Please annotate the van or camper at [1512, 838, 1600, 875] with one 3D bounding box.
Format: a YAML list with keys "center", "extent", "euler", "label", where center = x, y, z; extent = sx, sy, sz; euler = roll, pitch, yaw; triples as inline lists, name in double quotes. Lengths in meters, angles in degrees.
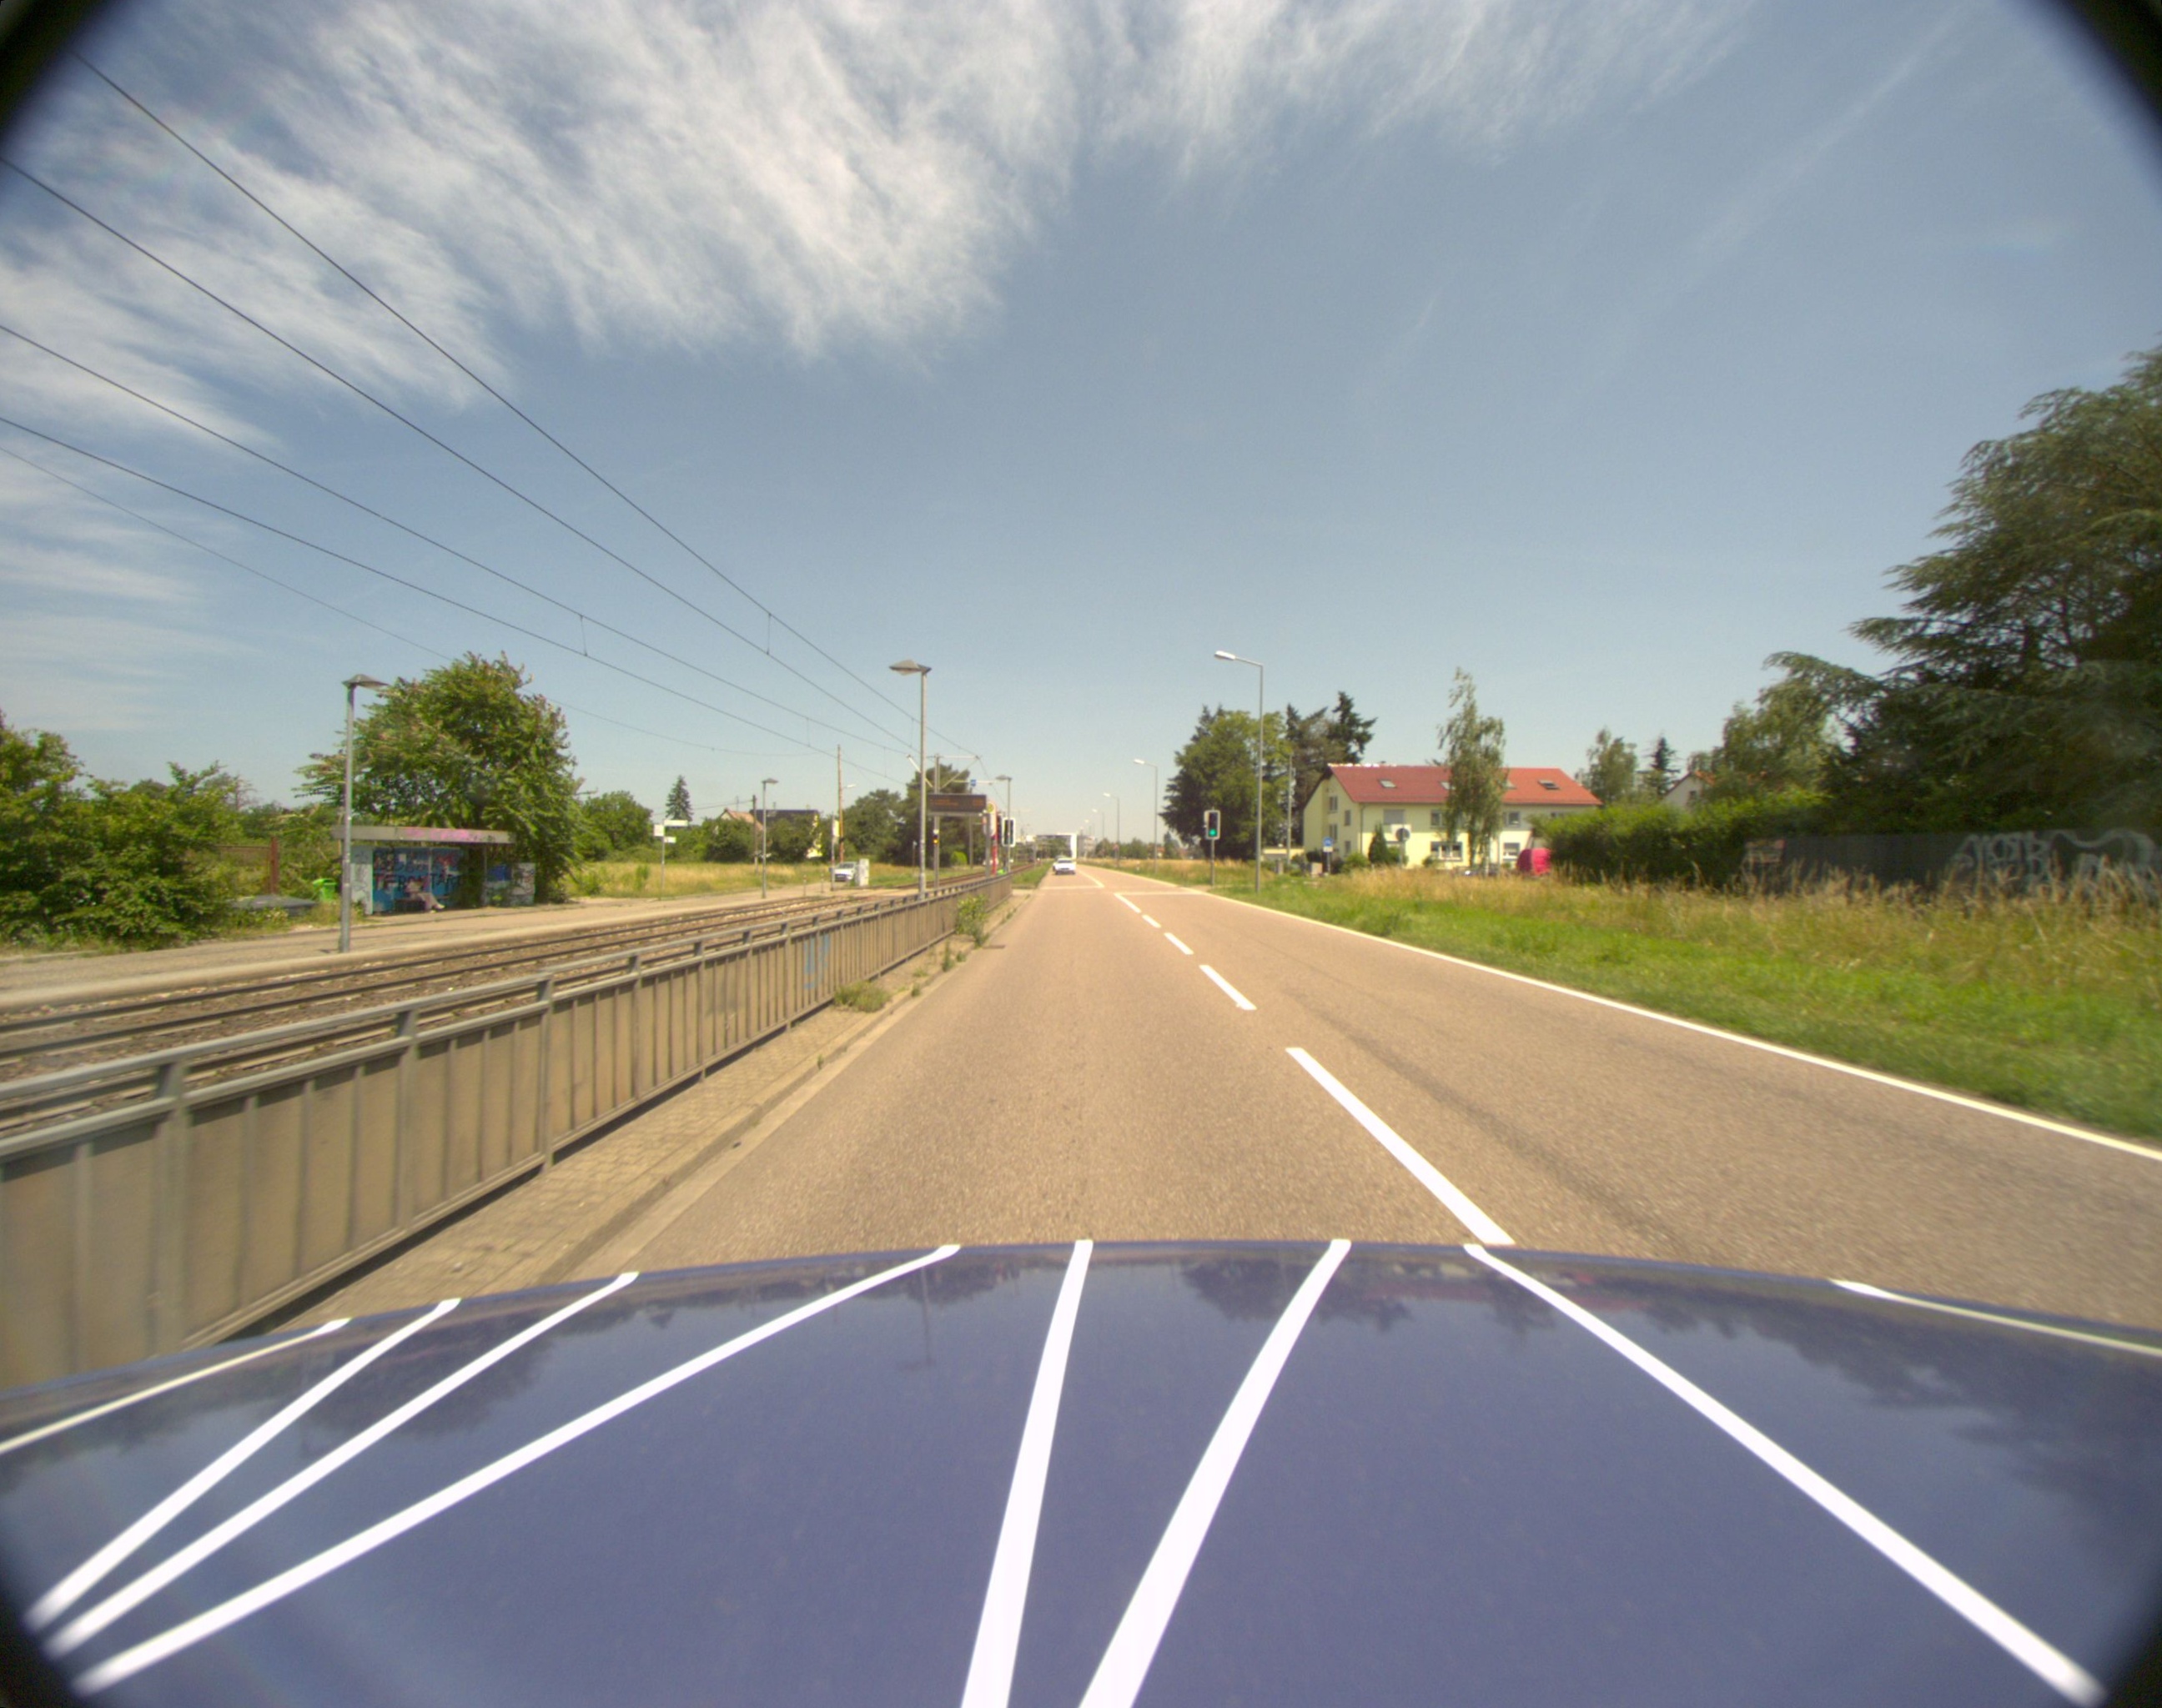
- center: [31.813, 0.144, 50.988]
  extent: [4.768, 2.374, 1.999]
  euler: [-1, 1, -5]
  label: "van or camper"

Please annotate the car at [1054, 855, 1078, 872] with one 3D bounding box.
- center: [-1.336, 0.862, 68.586]
  extent: [1.856, 1.447, 3.707]
  euler: [-1, 0, 3]
  label: "car"

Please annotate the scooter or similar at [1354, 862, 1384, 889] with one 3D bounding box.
- center: [12.267, 0.926, 32.400]
  extent: [1.021, 1.121, 0.648]
  euler: [0, 0, -11]
  label: "scooter or similar"

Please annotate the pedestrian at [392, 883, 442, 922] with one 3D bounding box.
- center: [-19.153, 1.390, 21.938]
  extent: [0.810, 1.080, 0.719]
  euler: [-1, 0, 8]
  label: "pedestrian"

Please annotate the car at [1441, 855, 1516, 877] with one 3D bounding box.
- center: [26.237, 0.763, 50.227]
  extent: [3.999, 1.346, 1.999]
  euler: [-1, 1, -5]
  label: "car"

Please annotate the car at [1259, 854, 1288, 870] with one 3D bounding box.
- center: [18.923, 0.806, 74.893]
  extent: [1.711, 1.483, 4.185]
  euler: [-1, 0, -2]
  label: "car"

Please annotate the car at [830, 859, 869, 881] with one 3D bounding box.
- center: [-17.220, 1.143, 56.747]
  extent: [1.717, 1.480, 4.000]
  euler: [-1, 0, -1]
  label: "car"

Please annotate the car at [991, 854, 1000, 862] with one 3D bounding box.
- center: [-21.379, 0.985, 190.234]
  extent: [1.863, 1.816, 4.586]
  euler: [-1, 0, -1]
  label: "car"
